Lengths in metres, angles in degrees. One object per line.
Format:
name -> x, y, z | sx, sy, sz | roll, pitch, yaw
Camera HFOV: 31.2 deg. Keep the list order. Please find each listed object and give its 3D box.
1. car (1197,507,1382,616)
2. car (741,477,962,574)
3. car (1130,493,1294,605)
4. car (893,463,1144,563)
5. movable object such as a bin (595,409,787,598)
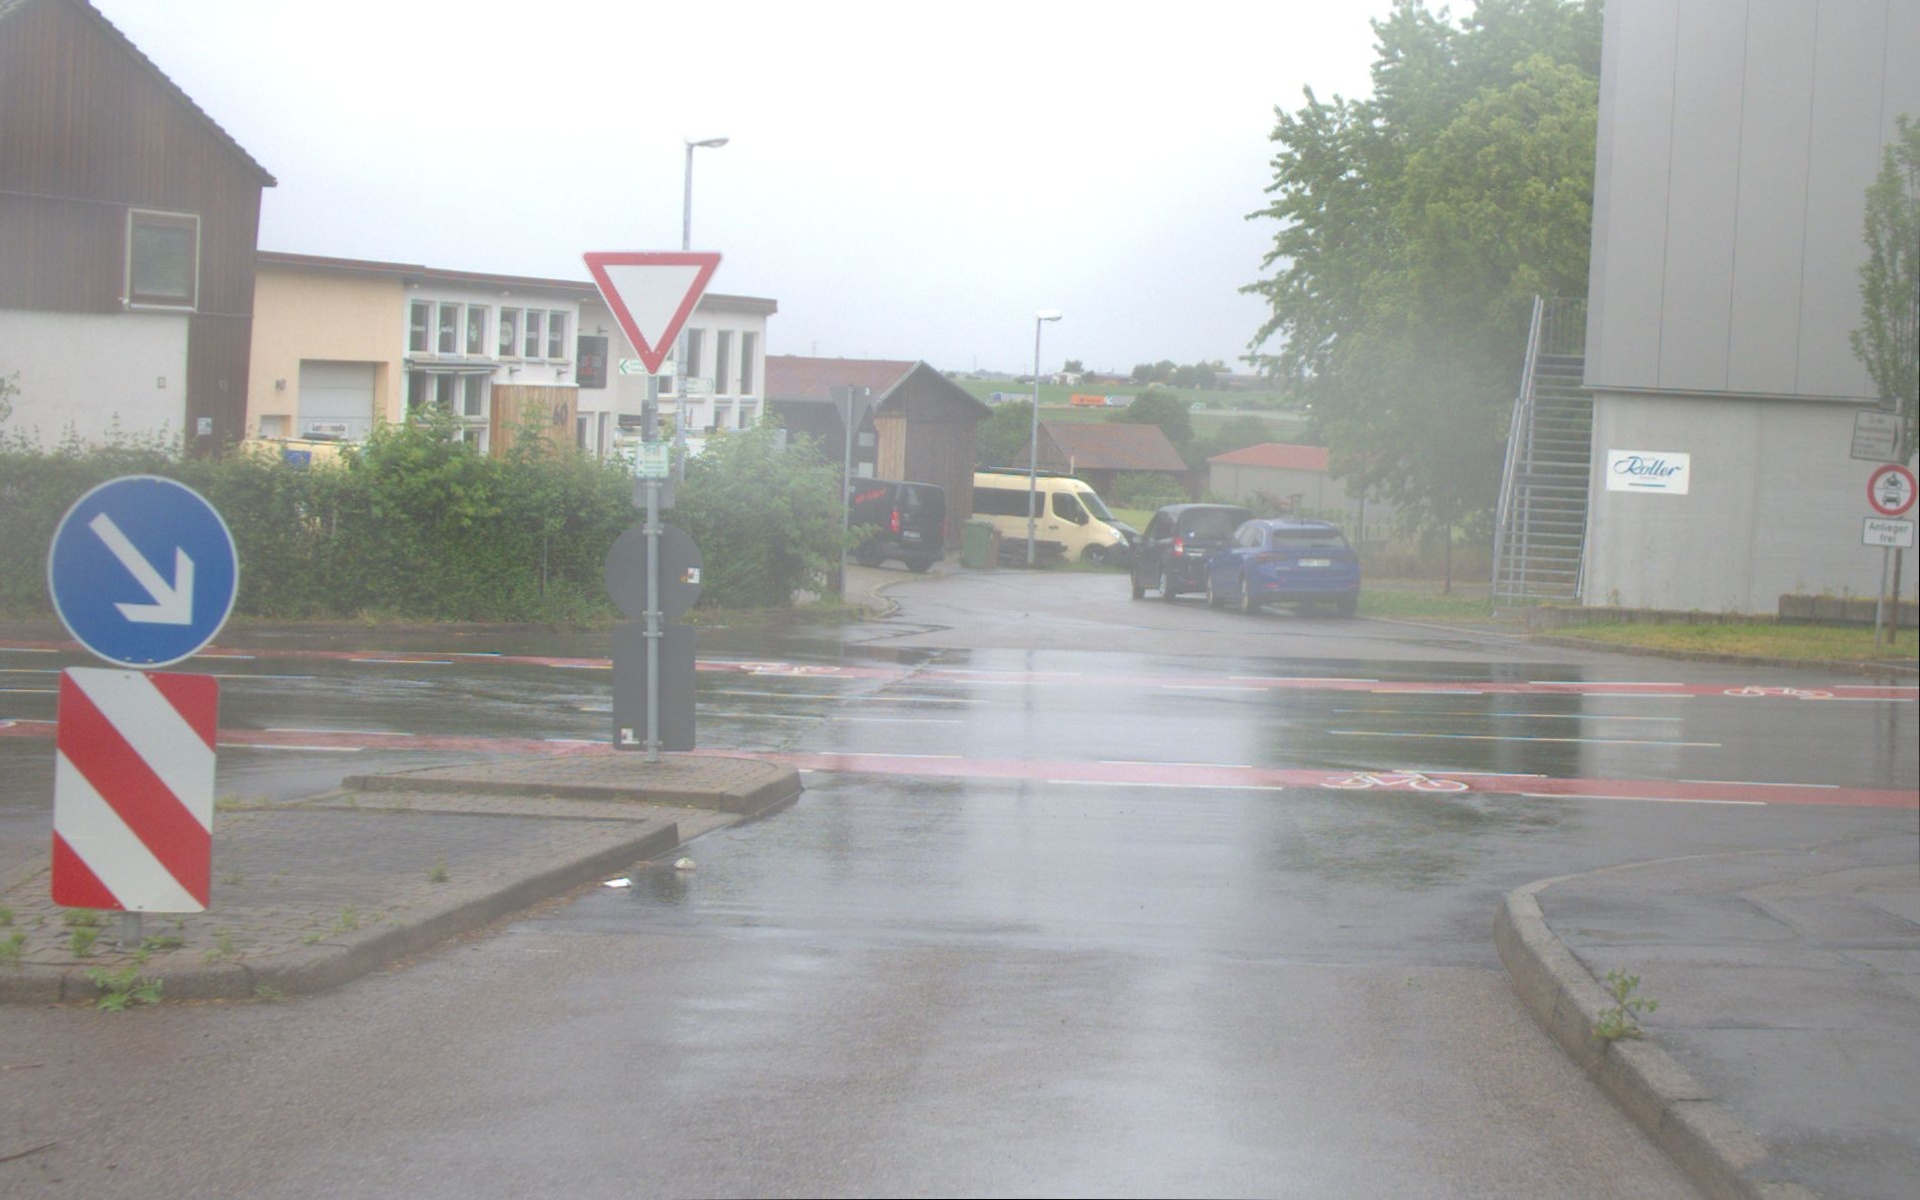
car -> 5.167, -0.641, 54.460 | 1.951, 1.604, 4.448 | 2, 1, -7
car -> -2.294, -1.578, 72.087 | 4.406, 1.898, 1.995 | 3, 1, 41
car -> 4.393, -0.913, 60.600 | 2.073, 1.828, 4.471 | 2, 1, -6
car -> 1.543, -2.260, 89.753 | 6.015, 2.406, 2.461 | 2, 1, 19
movable object such as a bin -> -3.774, -1.346, 48.747 | 1.734, 2.547, 3.338 | 2, 1, 13
